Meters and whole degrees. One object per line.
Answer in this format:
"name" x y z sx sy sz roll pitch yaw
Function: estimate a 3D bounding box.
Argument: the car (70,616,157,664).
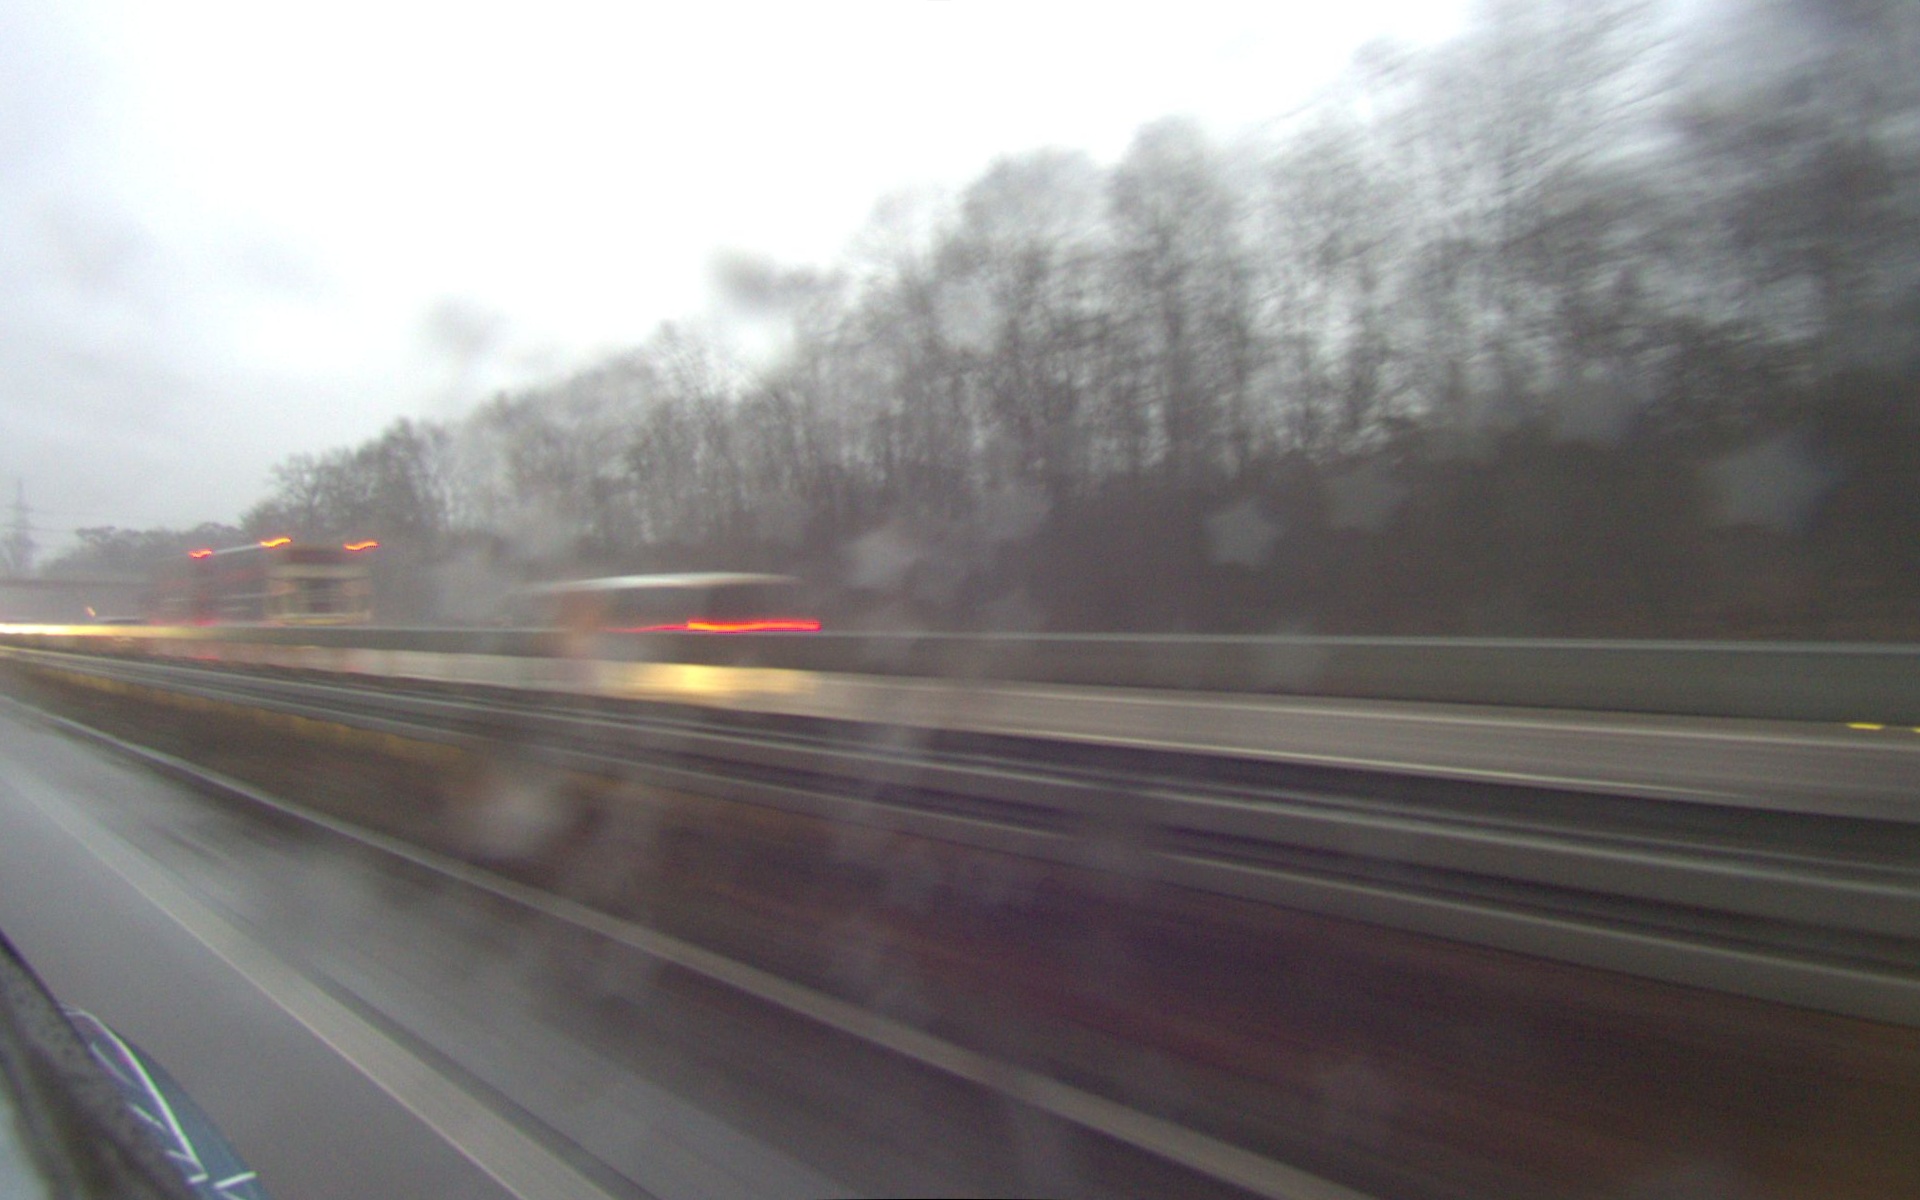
"car" -29.560 1.366 35.301 4.269 1.546 1.779 -1 0 43

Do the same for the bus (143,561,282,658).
"bus" -30.716 0.424 41.403 9.084 3.582 2.698 -1 0 41

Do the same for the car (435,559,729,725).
"car" -5.590 0.541 14.642 4.726 2.029 1.973 -1 0 41

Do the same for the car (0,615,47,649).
"car" -47.816 1.590 51.276 4.150 1.606 1.811 -1 0 40

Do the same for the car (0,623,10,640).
"car" -98.554 3.190 103.412 4.603 1.659 1.672 -1 0 41

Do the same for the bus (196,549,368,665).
"bus" -23.819 0.283 35.308 9.151 3.582 2.710 -1 0 41
